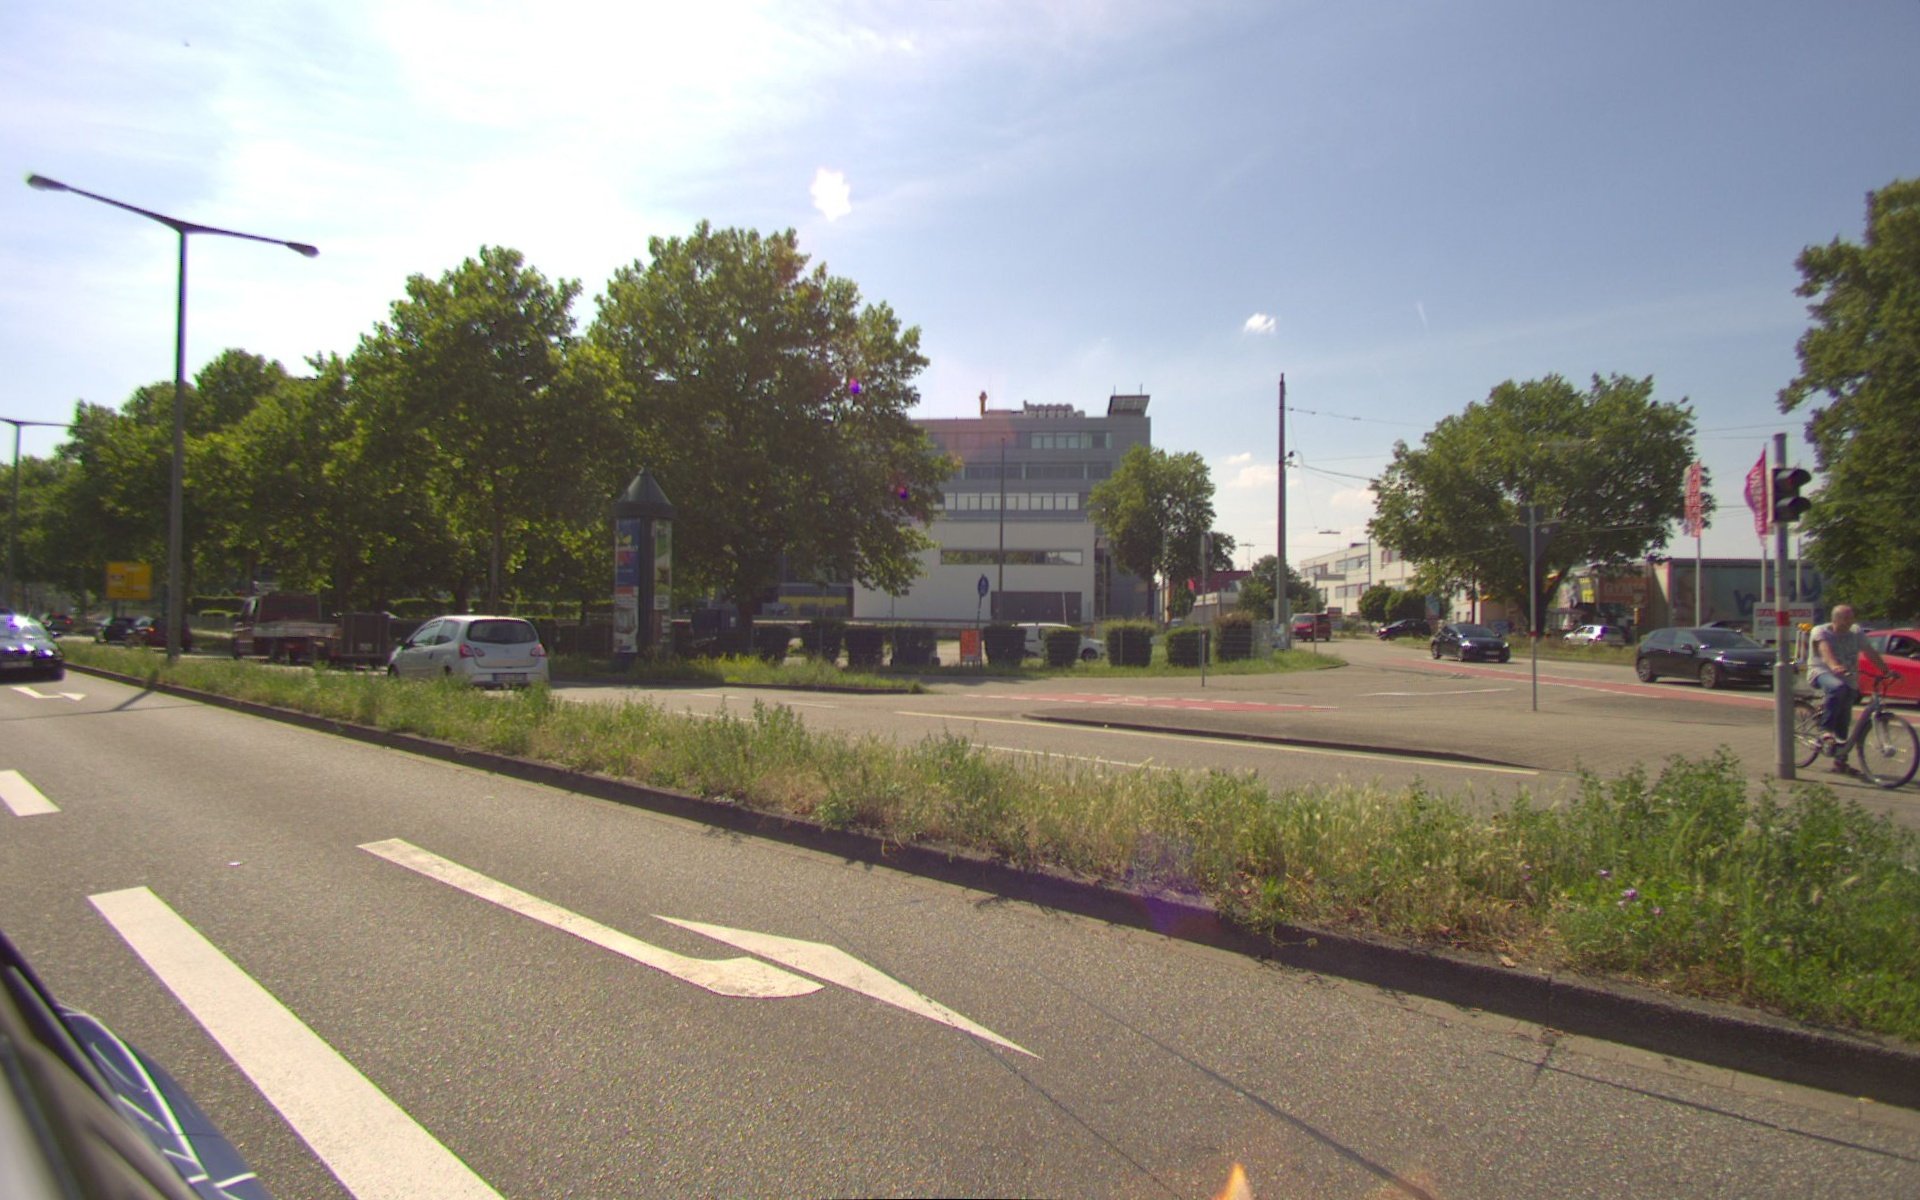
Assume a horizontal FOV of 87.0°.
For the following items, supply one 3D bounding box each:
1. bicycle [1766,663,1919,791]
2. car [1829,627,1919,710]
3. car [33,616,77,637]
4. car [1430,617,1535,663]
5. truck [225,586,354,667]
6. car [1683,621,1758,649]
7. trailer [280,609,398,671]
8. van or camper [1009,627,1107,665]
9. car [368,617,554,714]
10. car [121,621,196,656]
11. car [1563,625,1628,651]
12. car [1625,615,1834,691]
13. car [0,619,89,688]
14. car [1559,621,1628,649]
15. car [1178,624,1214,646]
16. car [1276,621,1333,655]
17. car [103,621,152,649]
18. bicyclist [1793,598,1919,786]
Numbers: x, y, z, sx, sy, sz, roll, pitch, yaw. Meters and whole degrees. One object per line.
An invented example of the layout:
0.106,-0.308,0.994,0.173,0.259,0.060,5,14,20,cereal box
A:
9.018,1.211,10.142,0.520,1.072,2.157,0,-1,11,bicycle
17.979,1.221,17.976,1.824,1.460,3.993,0,-2,5,car
-67.507,1.982,75.477,4.219,1.433,1.820,-1,-4,41,car
20.336,1.527,39.609,1.972,1.712,4.000,0,-2,-1,car
-22.902,0.892,34.406,7.130,2.494,2.116,-1,-2,44,truck
55.942,2.534,74.491,3.974,2.029,1.985,-1,-2,23,car
-18.824,1.172,30.611,3.991,1.729,2.039,-1,-2,43,trailer
4.477,2.117,46.782,4.453,1.705,1.998,0,-1,4,van or camper
-8.876,1.079,17.899,3.734,1.525,1.632,-1,-2,41,car
-34.864,1.676,44.005,3.764,1.445,1.829,-2,-4,40,car
37.283,2.203,59.487,1.679,1.438,3.853,0,-1,6,car
18.705,1.246,24.873,1.971,1.712,4.001,0,-2,-2,car
-20.835,1.140,22.385,1.702,1.372,4.079,0,0,-31,car
47.299,2.599,75.651,3.973,2.029,1.985,0,-2,22,car
19.241,2.831,82.668,1.972,1.712,4.000,0,-2,-1,car
24.014,2.641,70.426,2.150,2.295,4.974,-1,-2,39,car
-46.000,1.935,55.896,1.817,1.433,3.899,3,-3,-42,car
9.022,0.891,10.169,0.698,1.802,0.765,0,-2,12,bicyclist
